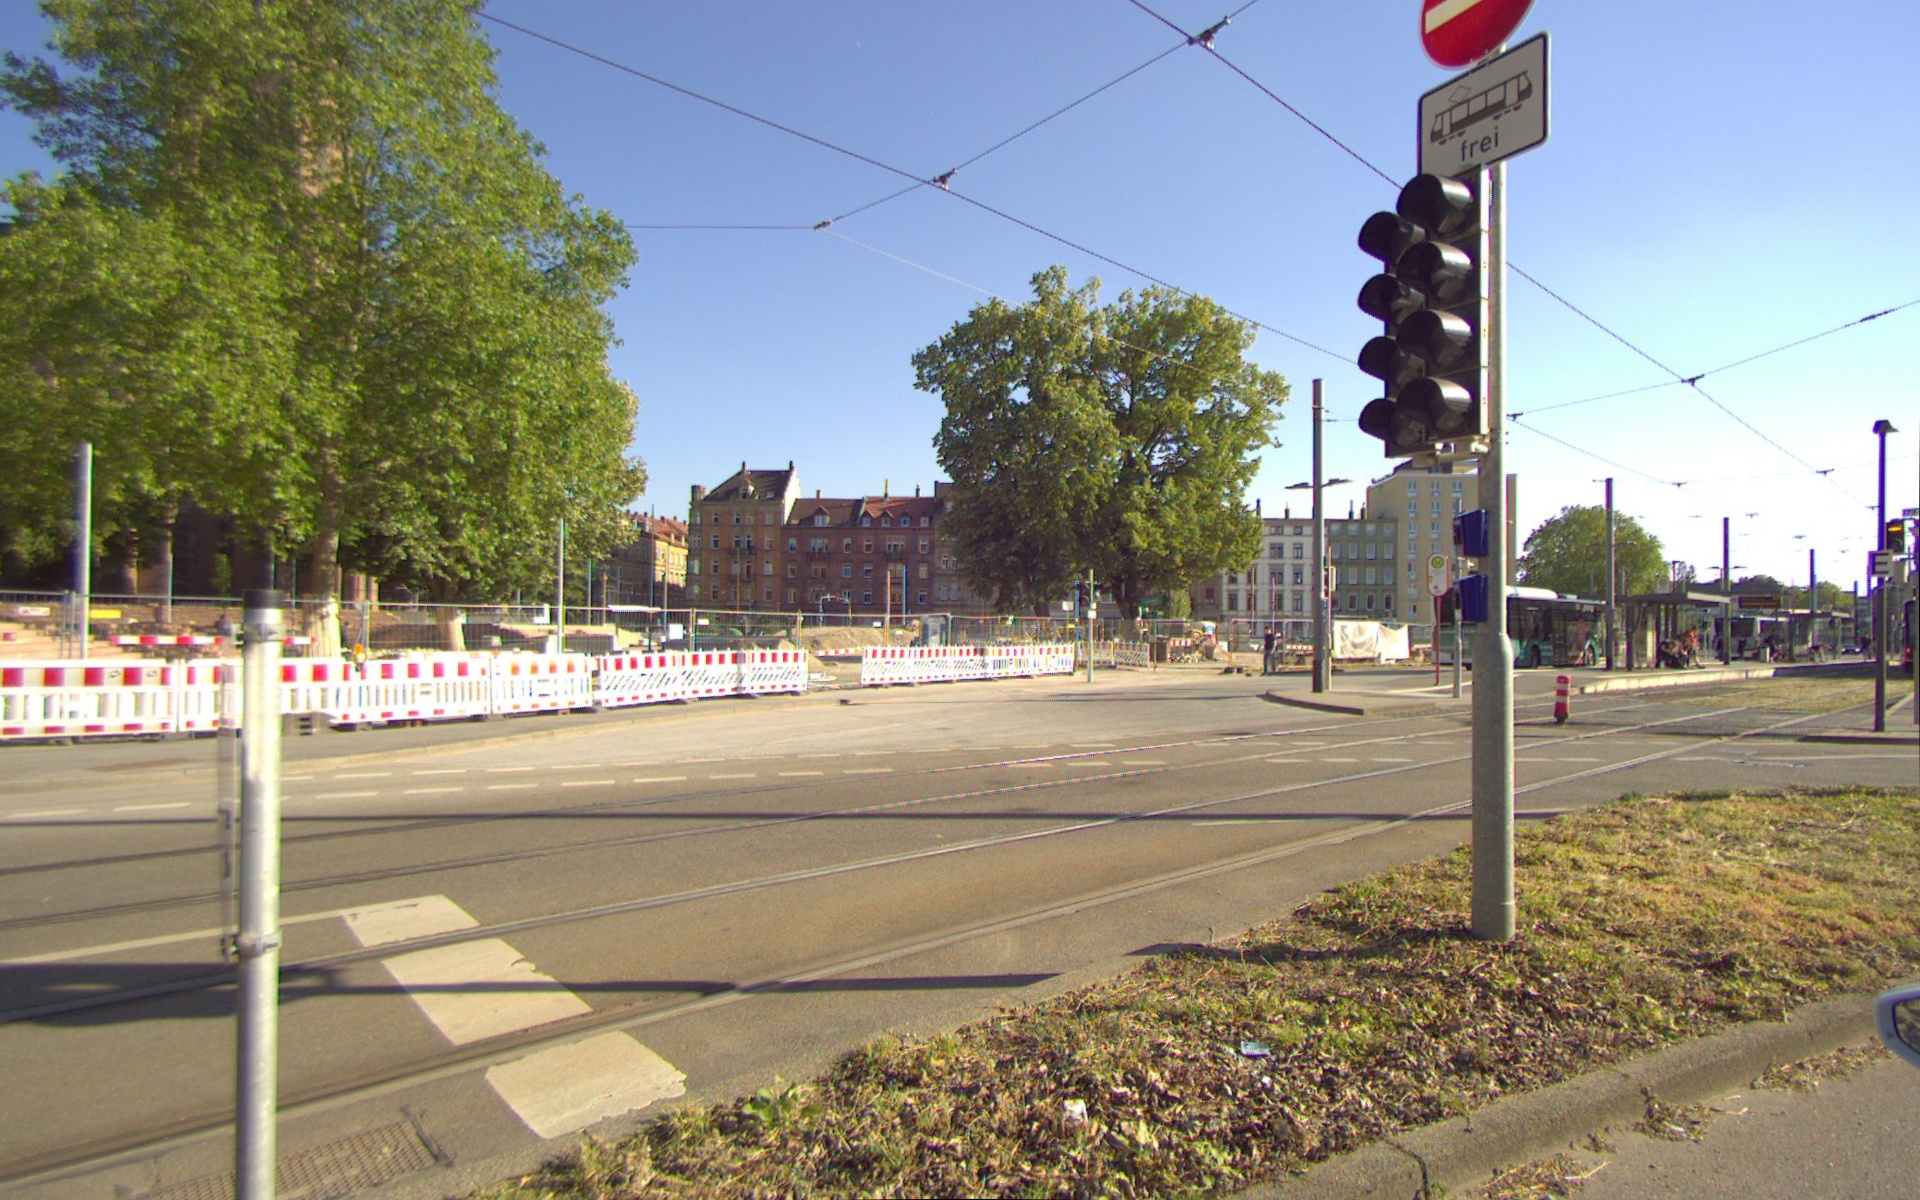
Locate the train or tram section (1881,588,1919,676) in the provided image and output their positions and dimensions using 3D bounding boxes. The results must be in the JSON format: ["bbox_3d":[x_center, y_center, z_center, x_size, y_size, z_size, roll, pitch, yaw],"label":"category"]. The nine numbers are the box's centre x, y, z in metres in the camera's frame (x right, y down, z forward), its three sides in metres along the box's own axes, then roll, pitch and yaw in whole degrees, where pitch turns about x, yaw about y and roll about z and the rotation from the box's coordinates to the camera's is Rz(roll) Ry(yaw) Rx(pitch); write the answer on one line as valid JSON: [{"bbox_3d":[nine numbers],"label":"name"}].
[{"bbox_3d":[44.754,1.495,45.828,12.108,3.644,2.855,2,0,-42],"label":"train or tram section"}]

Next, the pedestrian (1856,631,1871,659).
[{"bbox_3d":[57.849,2.847,64.295,0.629,1.772,0.570,-1,-2,34],"label":"pedestrian"}]

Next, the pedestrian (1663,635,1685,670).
[{"bbox_3d":[27.673,2.022,38.933,0.609,1.358,0.438,-1,-2,44],"label":"pedestrian"}]

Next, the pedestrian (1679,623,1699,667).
[{"bbox_3d":[29.560,1.814,40.728,0.564,1.772,0.636,-1,-2,43],"label":"pedestrian"}]

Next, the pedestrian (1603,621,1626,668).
[{"bbox_3d":[25.023,1.700,38.404,0.554,1.772,0.534,2,-2,-35],"label":"pedestrian"}]

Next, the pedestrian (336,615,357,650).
[{"bbox_3d":[-30.220,1.598,49.488,0.751,1.669,0.671,1,-1,-26],"label":"pedestrian"}]

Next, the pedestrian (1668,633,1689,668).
[{"bbox_3d":[28.181,1.986,39.408,0.564,1.363,0.636,-1,-2,43],"label":"pedestrian"}]

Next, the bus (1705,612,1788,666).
[{"bbox_3d":[53.960,2.635,68.749,13.376,3.317,2.694,2,0,-44],"label":"bus"}]

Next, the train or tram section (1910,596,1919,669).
[{"bbox_3d":[53.891,1.823,53.781,12.100,3.644,2.987,2,0,-40],"label":"train or tram section"}]

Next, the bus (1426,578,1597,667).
[{"bbox_3d":[22.000,0.903,39.750,9.564,3.177,2.631,2,0,-40],"label":"bus"}]

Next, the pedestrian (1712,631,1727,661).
[{"bbox_3d":[44.899,2.710,59.368,0.629,1.772,0.570,-1,-2,34],"label":"pedestrian"}]

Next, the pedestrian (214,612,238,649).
[{"bbox_3d":[-33.426,1.402,45.749,0.665,1.669,0.635,1,-1,-18],"label":"pedestrian"}]

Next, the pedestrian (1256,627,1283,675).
[{"bbox_3d":[11.244,1.845,36.480,0.699,1.719,0.899,-1,-4,33],"label":"pedestrian"}]

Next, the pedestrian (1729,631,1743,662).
[{"bbox_3d":[44.566,2.664,57.696,0.564,1.772,0.636,-1,-2,41],"label":"pedestrian"}]
